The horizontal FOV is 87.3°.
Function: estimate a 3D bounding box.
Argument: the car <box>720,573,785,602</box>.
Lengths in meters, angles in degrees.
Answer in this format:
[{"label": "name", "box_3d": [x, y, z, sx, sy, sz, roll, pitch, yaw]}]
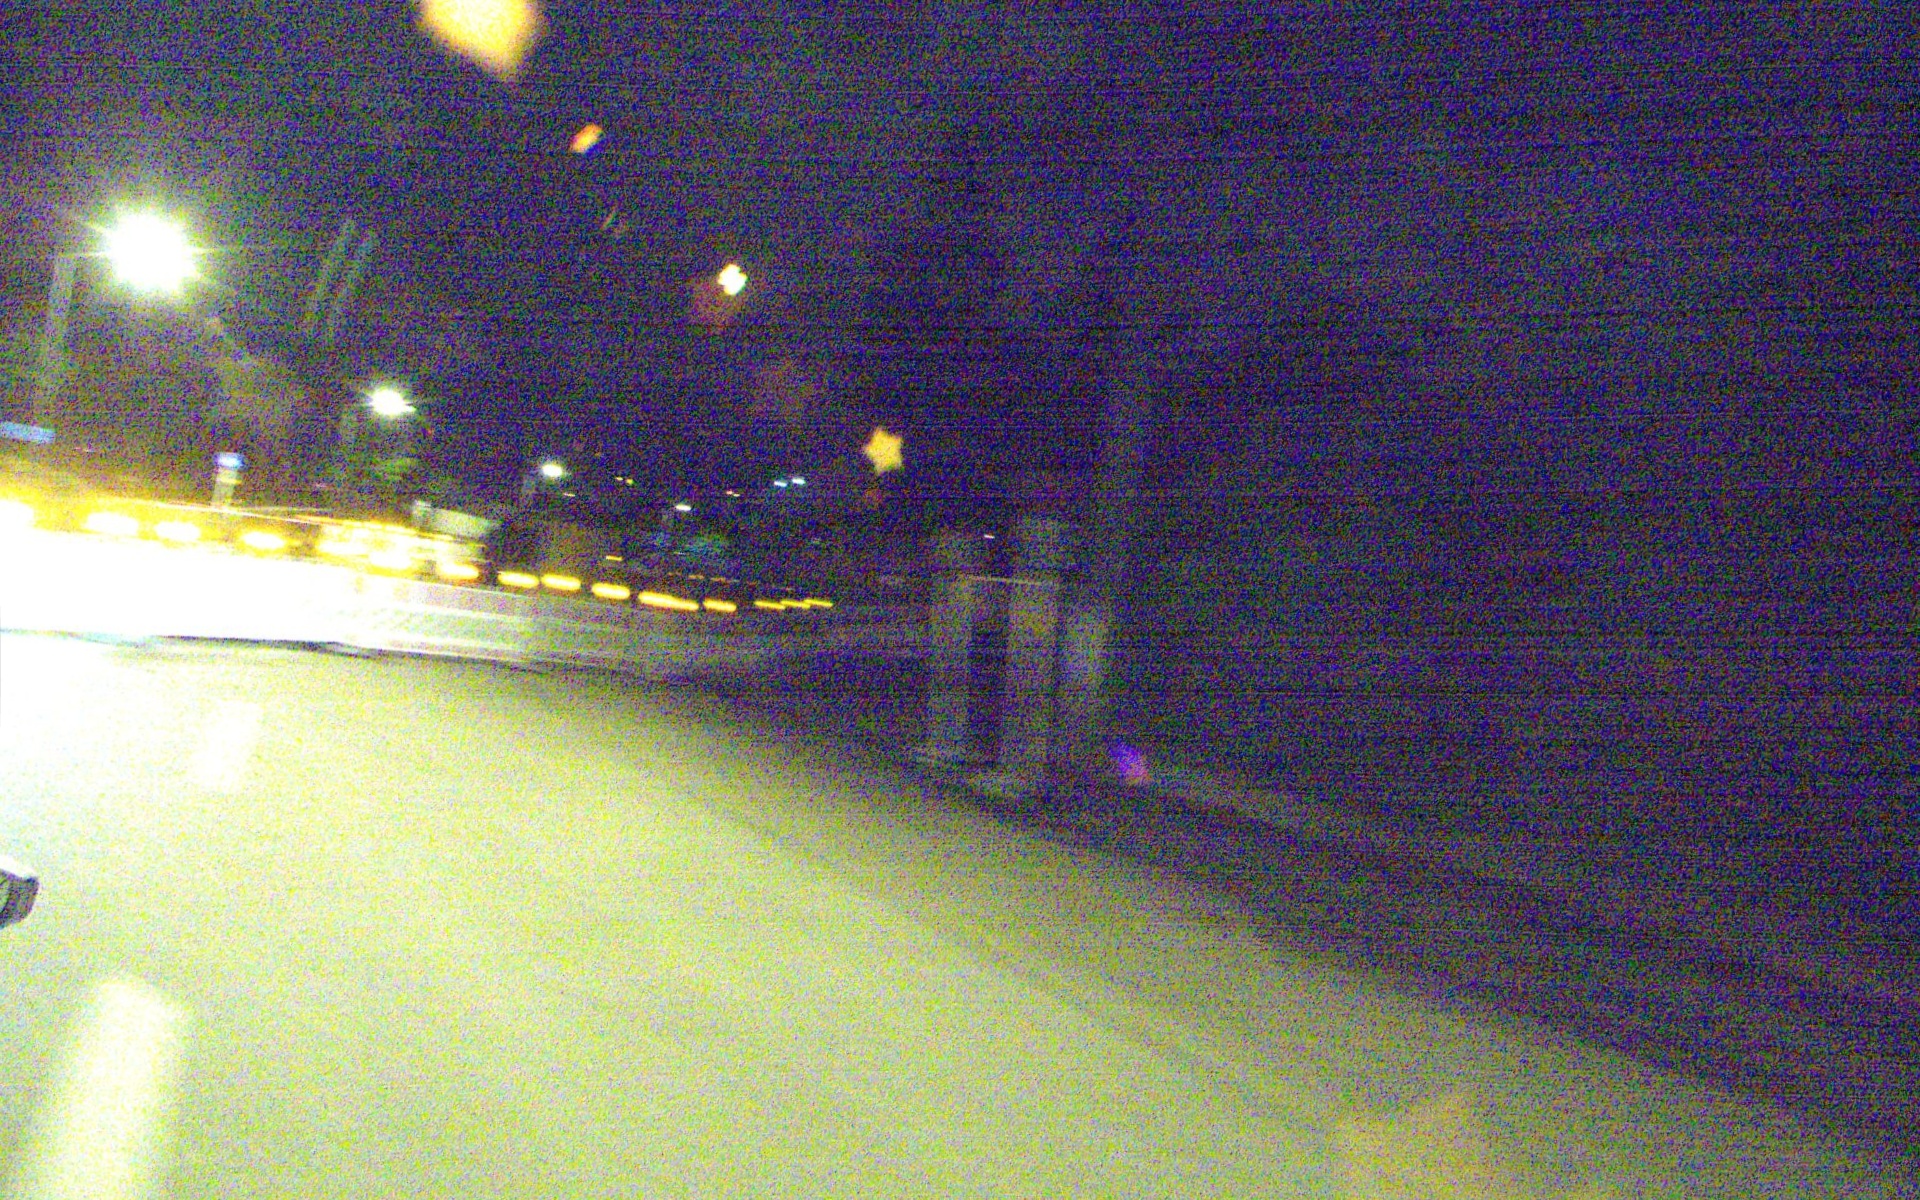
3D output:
[{"label": "car", "box_3d": [-13.878, -0.805, 67.498, 1.967, 1.437, 3.992, 7, -1, 32]}]

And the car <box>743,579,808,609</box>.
[{"label": "car", "box_3d": [-12.075, -0.393, 66.064, 1.967, 1.437, 3.992, 7, -1, 32]}]
